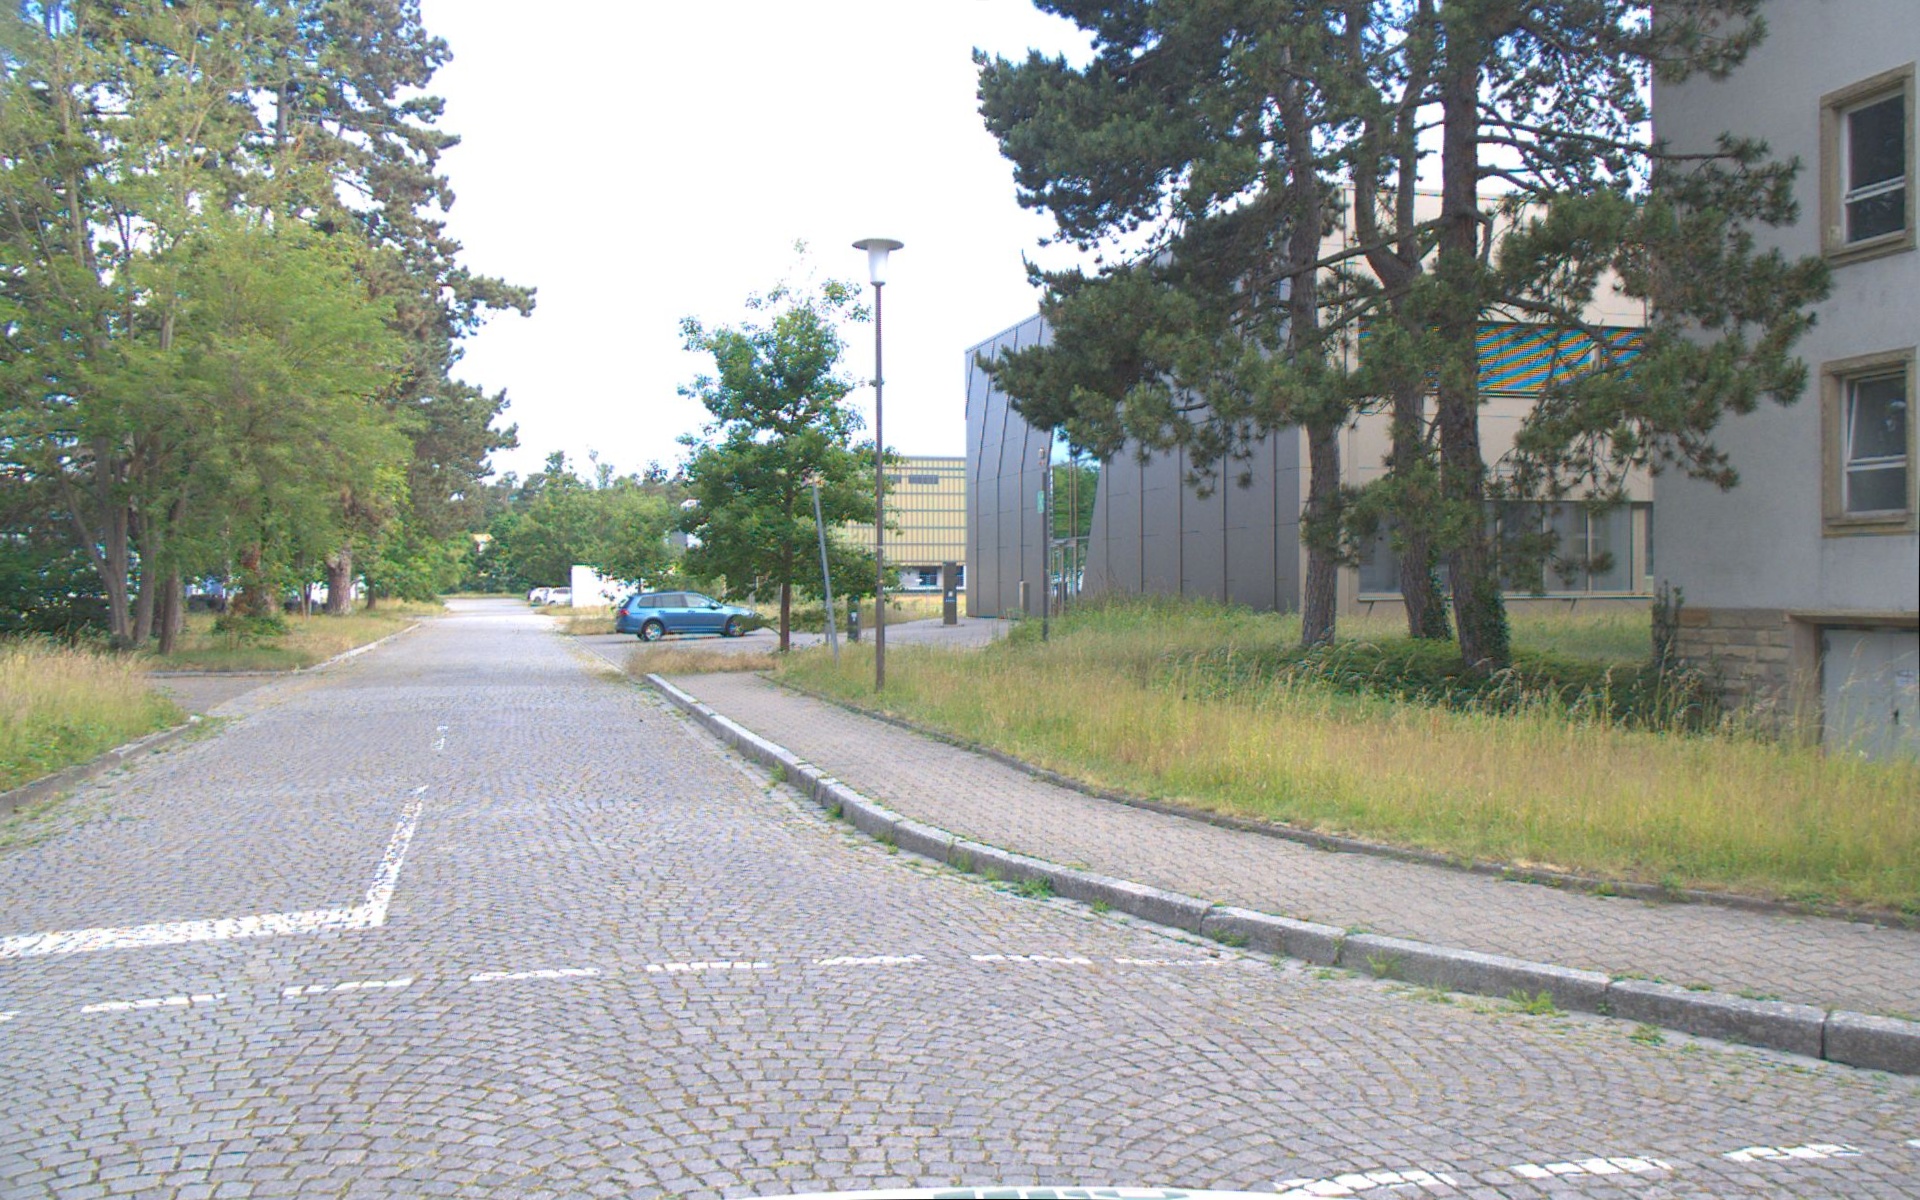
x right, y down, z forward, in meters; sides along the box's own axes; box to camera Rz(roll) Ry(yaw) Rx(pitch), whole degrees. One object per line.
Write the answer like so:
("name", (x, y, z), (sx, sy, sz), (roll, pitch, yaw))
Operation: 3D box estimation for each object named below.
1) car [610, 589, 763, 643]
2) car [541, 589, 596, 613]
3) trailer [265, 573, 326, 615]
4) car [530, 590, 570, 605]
("car", (-8.563, 0.477, 51.771), (4.455, 1.468, 1.813), (-3, 1, -20))
("car", (-28.929, 0.058, 122.106), (3.791, 1.683, 1.677), (-1, 0, -19))
("trailer", (-51.544, -0.504, 128.509), (3.105, 3.121, 8.752), (-1, 1, -14))
("car", (-41.246, -0.270, 166.380), (3.959, 1.528, 1.542), (-1, 0, -16))
